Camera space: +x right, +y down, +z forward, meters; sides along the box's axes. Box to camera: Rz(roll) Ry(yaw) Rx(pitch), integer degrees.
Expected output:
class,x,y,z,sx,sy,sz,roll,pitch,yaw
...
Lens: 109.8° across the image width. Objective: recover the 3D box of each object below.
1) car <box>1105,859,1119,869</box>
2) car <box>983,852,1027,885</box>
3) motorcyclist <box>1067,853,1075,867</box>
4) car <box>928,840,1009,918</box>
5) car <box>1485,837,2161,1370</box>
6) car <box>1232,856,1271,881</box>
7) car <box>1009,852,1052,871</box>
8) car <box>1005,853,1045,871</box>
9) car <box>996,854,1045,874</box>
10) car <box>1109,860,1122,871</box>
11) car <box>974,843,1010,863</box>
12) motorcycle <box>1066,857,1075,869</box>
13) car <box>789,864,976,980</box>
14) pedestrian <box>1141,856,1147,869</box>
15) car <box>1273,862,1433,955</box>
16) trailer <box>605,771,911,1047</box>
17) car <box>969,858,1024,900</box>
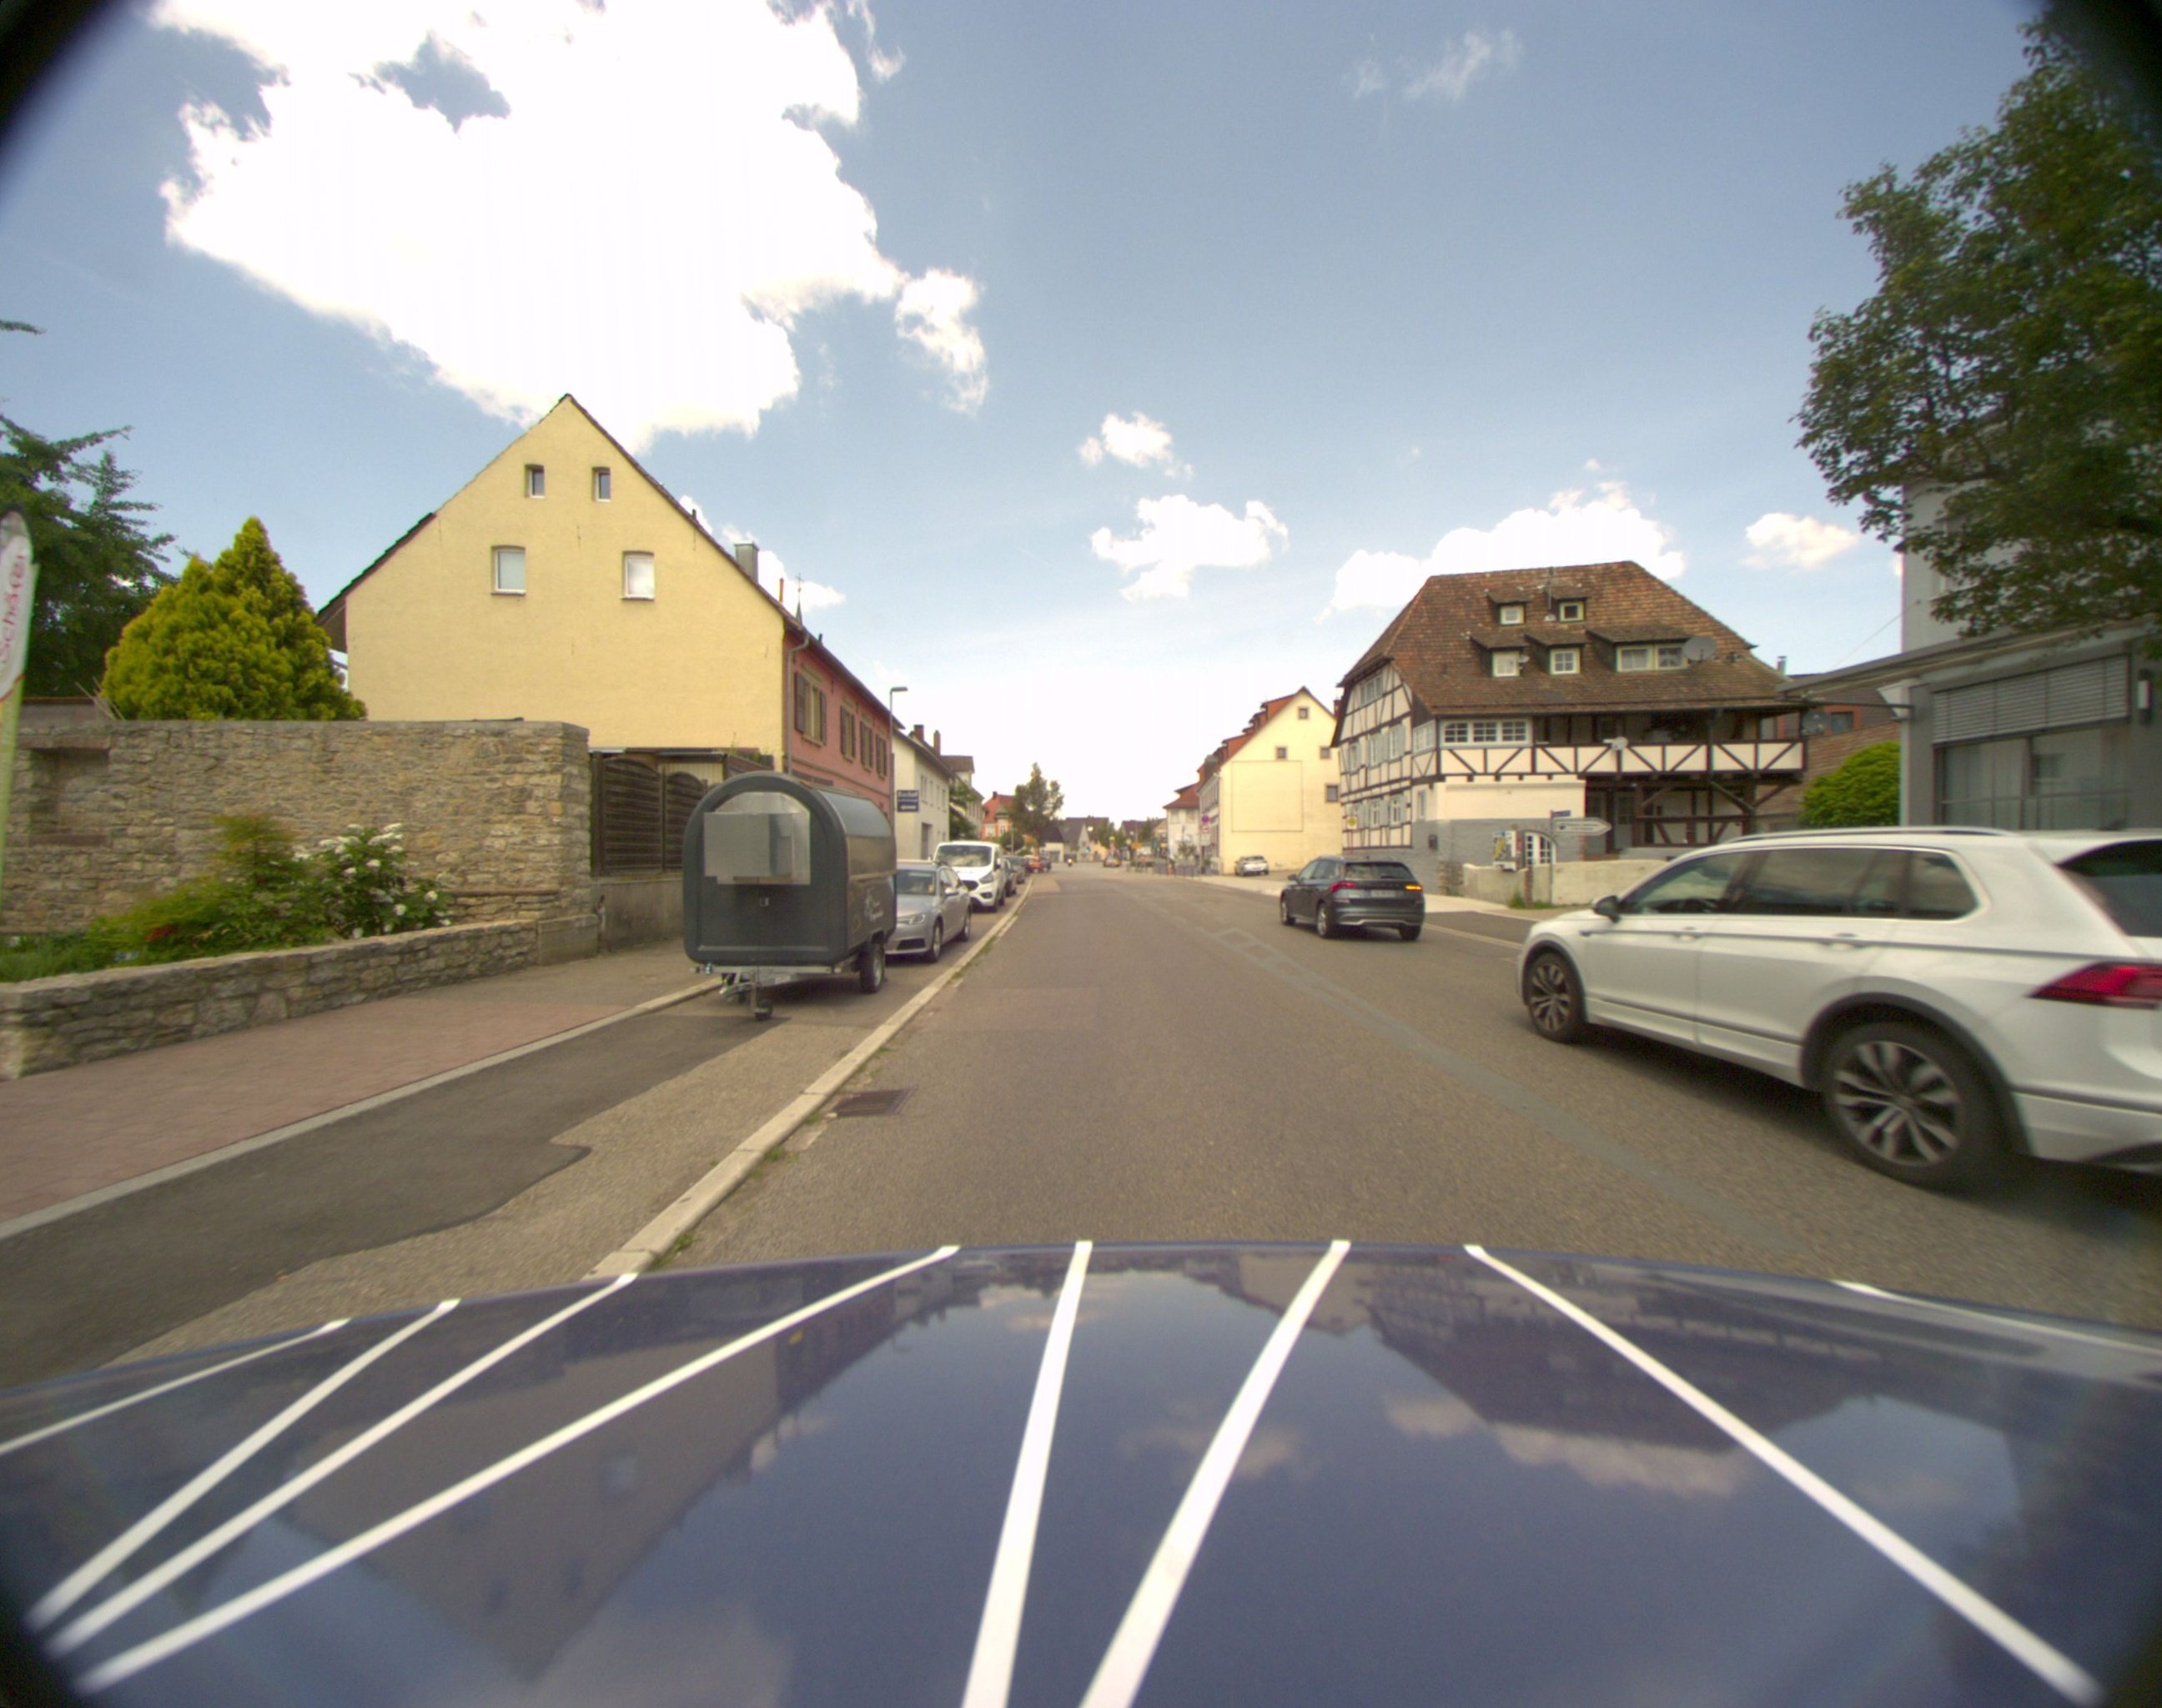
class,x,y,z,sx,sy,sz,roll,pitch,yaw
car,4.518,1.426,110.830,1.820,1.415,4.539,0,0,4
car,-4.126,0.751,41.838,1.999,1.671,4.322,0,0,-1
motorcyclist,-1.453,0.907,108.673,1.048,1.935,1.248,1,1,2
car,-3.188,0.651,22.469,1.897,1.970,4.928,2,0,-4
car,4.670,0.840,4.713,1.959,1.774,4.652,1,0,2
car,11.891,0.971,53.203,1.762,1.484,4.276,-5,1,2
car,-4.642,0.699,70.087,3.860,1.569,1.849,2,3,-4
car,-4.963,0.706,67.536,3.386,1.568,1.726,1,0,-1
car,-4.665,0.759,58.425,3.242,1.496,1.822,2,0,-27
car,4.749,1.502,103.960,1.672,1.466,3.963,0,0,1
car,-13.298,-0.214,114.371,2.755,2.946,7.122,1,1,17
motorcycle,-1.475,1.329,108.773,1.133,1.609,4.000,1,1,2
car,-2.970,0.938,12.480,1.880,1.473,4.674,1,0,-1
pedestrian,7.713,1.023,92.681,0.640,1.619,0.620,0,1,2
car,5.154,0.950,14.996,1.747,1.518,4.019,1,0,1
trailer,-3.149,0.477,8.267,1.850,2.340,3.589,1,0,-1
car,-3.303,0.953,30.425,1.779,1.486,4.161,1,0,-1
